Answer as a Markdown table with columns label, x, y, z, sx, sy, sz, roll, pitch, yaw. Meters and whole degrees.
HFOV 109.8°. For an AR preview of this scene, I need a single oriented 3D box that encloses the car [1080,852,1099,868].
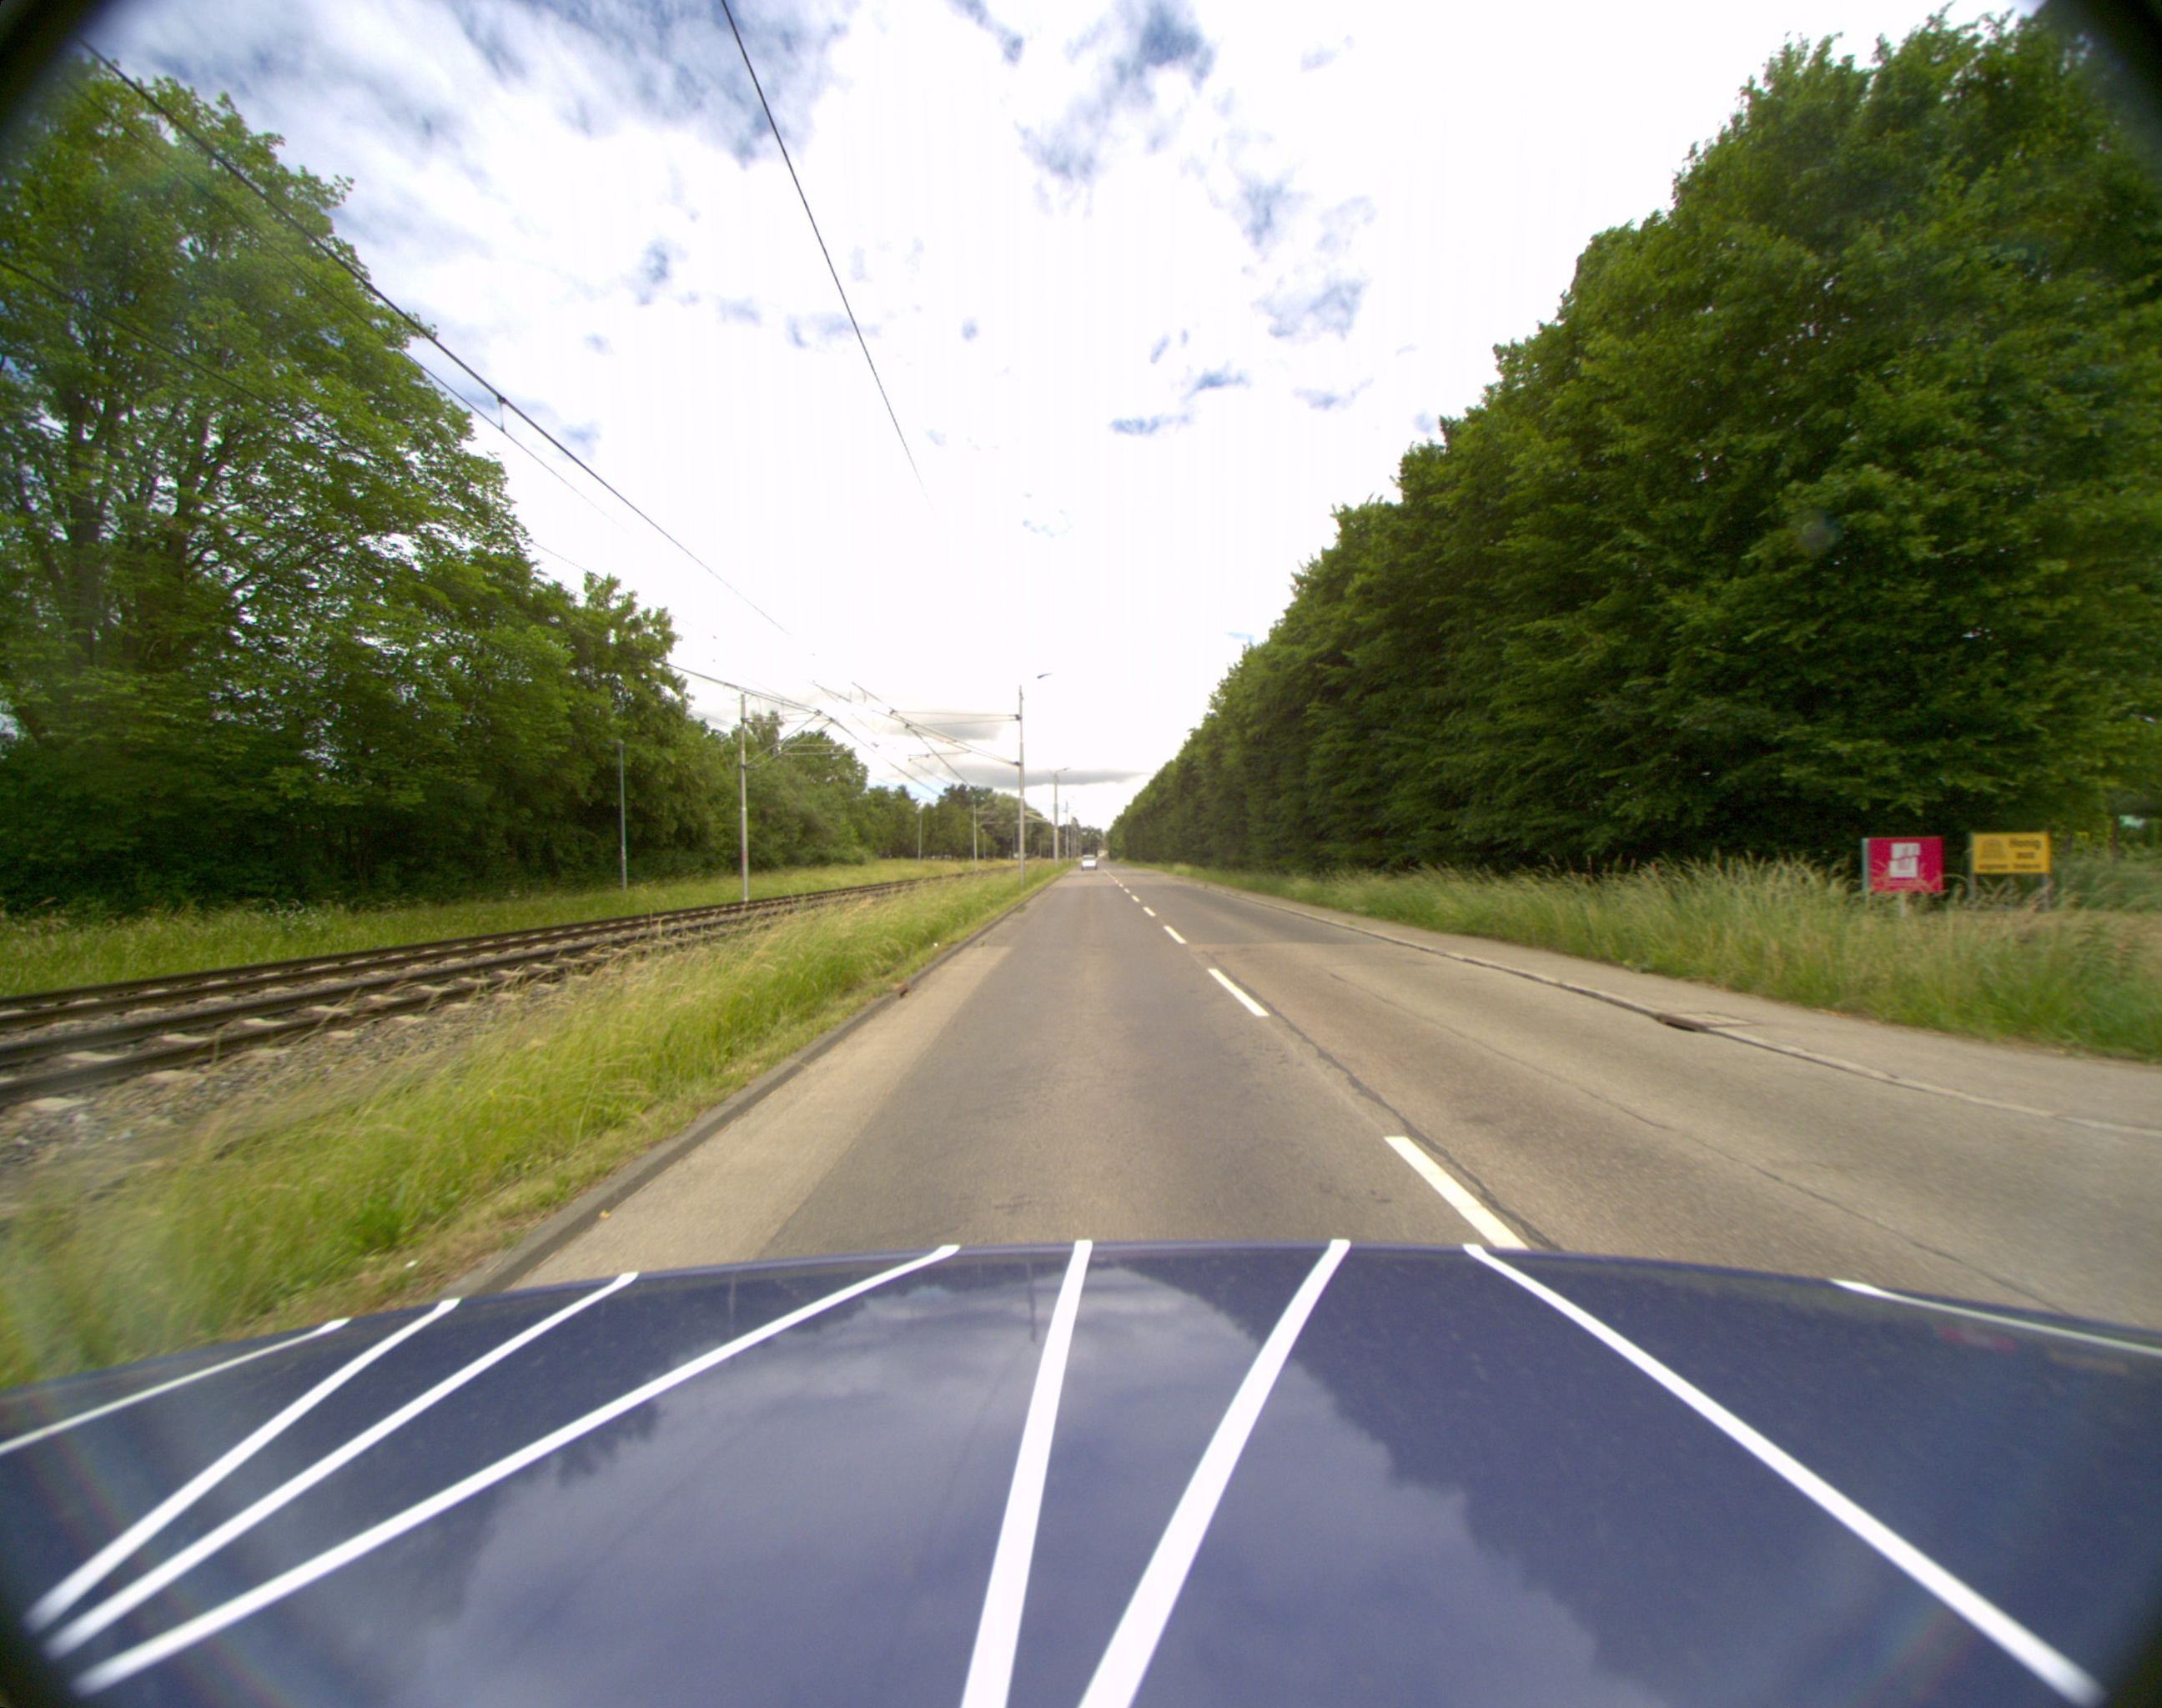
| label | x | y | z | sx | sy | sz | roll | pitch | yaw |
| --- | --- | --- | --- | --- | --- | --- | --- | --- | --- |
| car | 0.879 | 0.666 | 82.552 | 1.999 | 1.679 | 3.999 | -1 | 0 | 0 |
